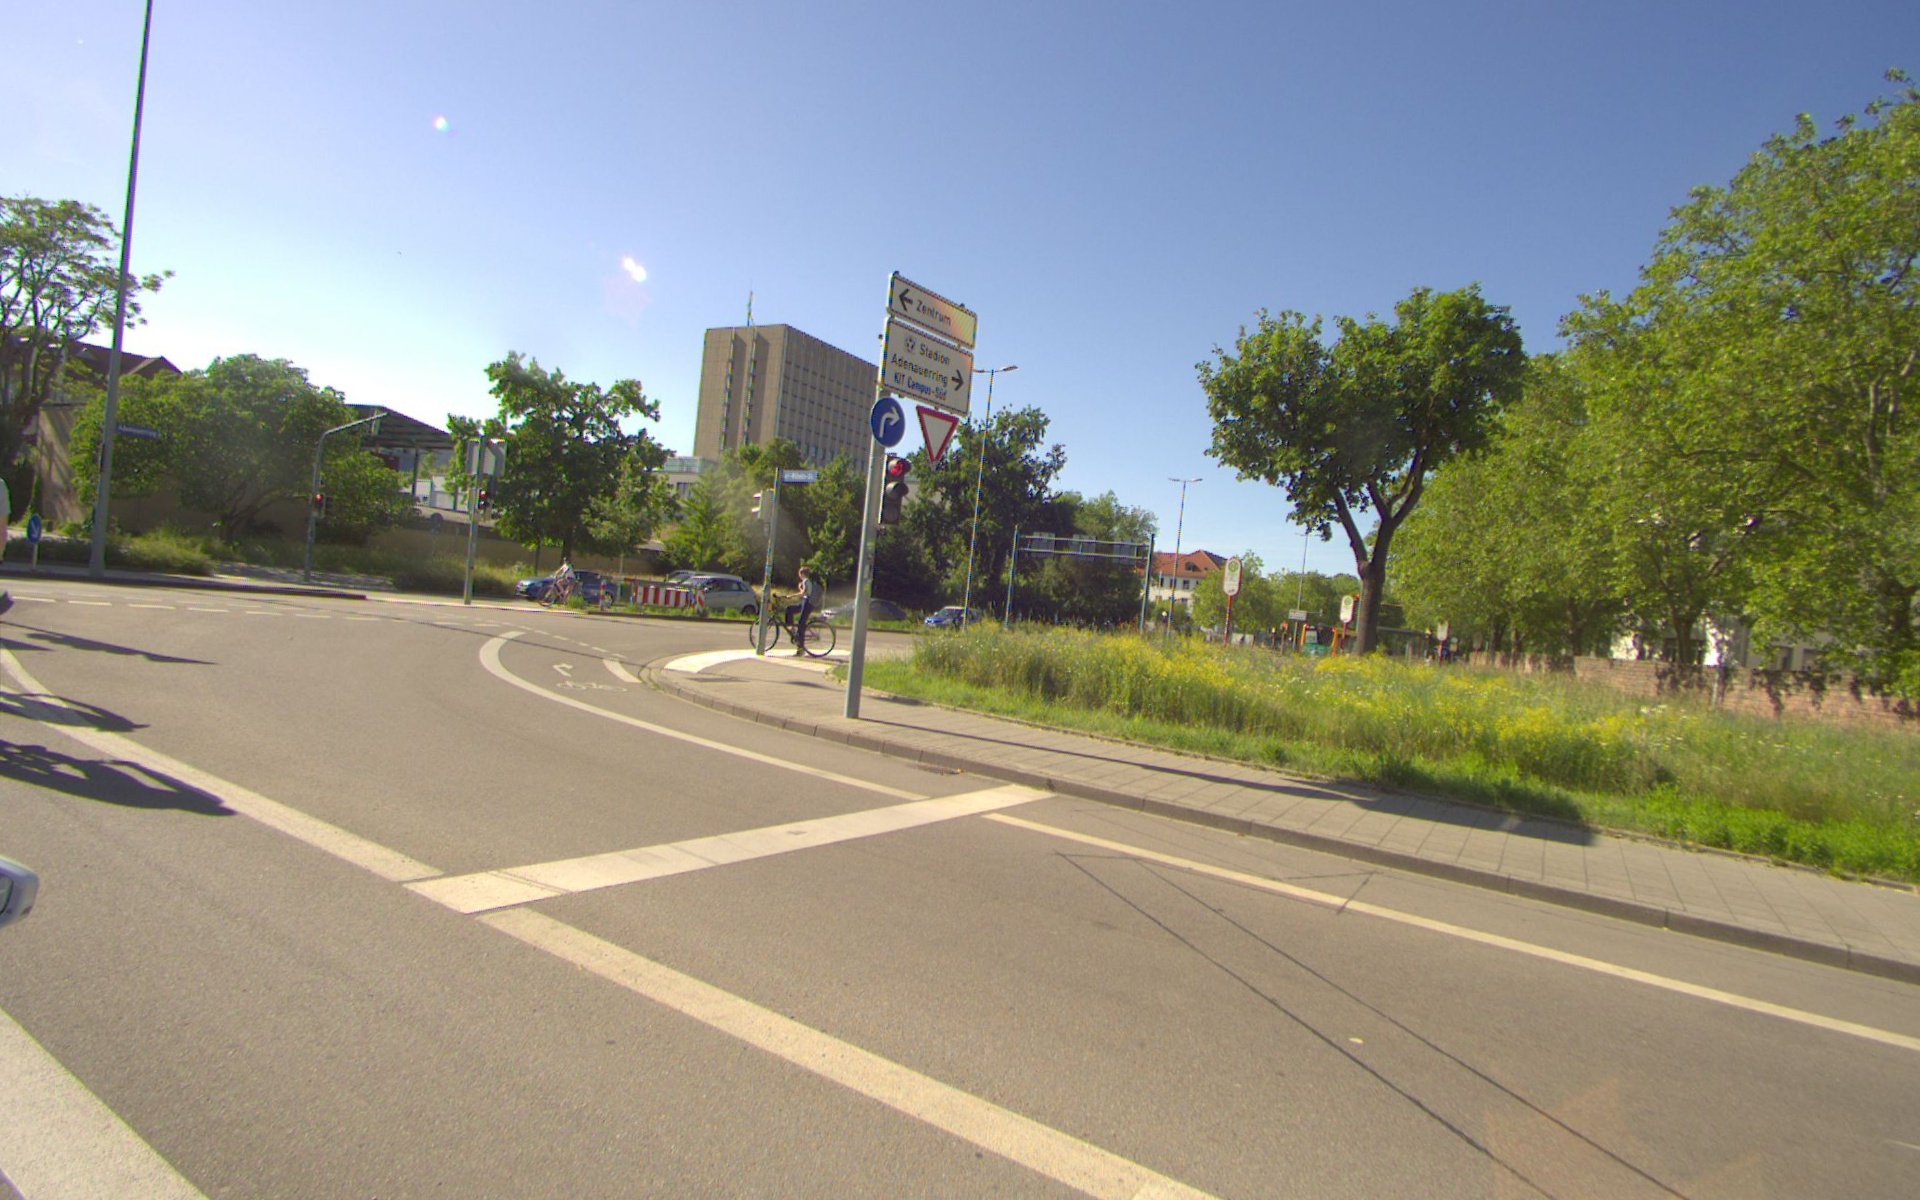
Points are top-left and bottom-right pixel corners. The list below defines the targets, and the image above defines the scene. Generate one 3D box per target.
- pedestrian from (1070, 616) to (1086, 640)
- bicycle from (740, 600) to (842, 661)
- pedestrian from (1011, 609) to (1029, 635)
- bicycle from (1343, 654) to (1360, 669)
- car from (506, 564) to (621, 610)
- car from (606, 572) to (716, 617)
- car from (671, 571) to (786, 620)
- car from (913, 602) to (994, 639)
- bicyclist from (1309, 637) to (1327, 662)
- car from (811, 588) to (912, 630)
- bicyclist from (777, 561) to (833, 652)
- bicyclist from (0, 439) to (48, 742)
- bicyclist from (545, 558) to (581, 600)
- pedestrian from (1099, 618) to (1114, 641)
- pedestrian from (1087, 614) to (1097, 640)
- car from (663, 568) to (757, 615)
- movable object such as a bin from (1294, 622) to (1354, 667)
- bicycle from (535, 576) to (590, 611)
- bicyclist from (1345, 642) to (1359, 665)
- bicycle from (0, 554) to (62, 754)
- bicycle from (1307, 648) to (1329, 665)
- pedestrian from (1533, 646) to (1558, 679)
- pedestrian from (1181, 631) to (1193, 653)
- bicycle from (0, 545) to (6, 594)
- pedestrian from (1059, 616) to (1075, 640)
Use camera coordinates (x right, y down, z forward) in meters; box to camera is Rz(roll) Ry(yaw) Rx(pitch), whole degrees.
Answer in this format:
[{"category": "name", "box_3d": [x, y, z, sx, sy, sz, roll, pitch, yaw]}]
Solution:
[{"category": "pedestrian", "box_3d": [10.450, 2.477, 89.116, 0.752, 2.039, 1.267, 7, 1, 36]}, {"category": "bicycle", "box_3d": [-3.290, 0.592, 19.679, 1.856, 0.970, 0.635, 7, 1, -10]}, {"category": "pedestrian", "box_3d": [5.027, 1.877, 84.213, 0.752, 2.039, 1.267, 7, 1, 36]}, {"category": "bicycle", "box_3d": [28.043, 4.418, 72.063, 0.514, 1.000, 1.965, 7, 1, 39]}, {"category": "car", "box_3d": [-16.211, -0.526, 41.318, 1.767, 1.415, 3.986, 7, 0, 37]}, {"category": "car", "box_3d": [-12.300, -0.201, 41.571, 1.767, 1.415, 3.986, 7, 0, 37]}, {"category": "car", "box_3d": [-8.740, -0.131, 38.290, 1.767, 1.415, 3.986, 7, 0, 37]}, {"category": "car", "box_3d": [-0.296, 1.049, 50.458, 1.916, 1.415, 3.986, 6, 0, 37]}, {"category": "bicyclist", "box_3d": [23.139, 3.198, 65.016, 0.632, 1.533, 1.049, 7, 2, 39]}, {"category": "car", "box_3d": [-4.310, 0.434, 44.631, 1.767, 1.415, 4.557, 7, 0, 37]}, {"category": "bicyclist", "box_3d": [-3.037, 0.125, 19.706, 0.898, 1.667, 0.630, 6, 1, -9]}, {"category": "bicyclist", "box_3d": [-6.336, -0.115, 6.160, 1.123, 1.813, 0.684, 7, 0, 32]}, {"category": "bicyclist", "box_3d": [-13.935, -0.723, 35.283, 0.602, 1.360, 0.874, 7, 1, 37]}, {"category": "pedestrian", "box_3d": [13.826, 2.801, 95.070, 0.752, 2.039, 1.267, 7, 1, 36]}, {"category": "pedestrian", "box_3d": [12.546, 2.547, 95.605, 0.401, 2.451, 0.467, 6, -1, 34]}, {"category": "car", "box_3d": [-11.844, -0.368, 47.796, 1.767, 1.771, 3.986, 7, 0, 37]}, {"category": "movable object such as a bin", "box_3d": [27.729, 3.461, 76.396, 2.954, 2.898, 9.178, 6, 0, 27]}, {"category": "bicycle", "box_3d": [-13.951, -0.229, 35.341, 0.602, 1.046, 1.681, 7, 0, 37]}, {"category": "bicyclist", "box_3d": [28.047, 3.818, 71.987, 0.509, 1.548, 1.067, 7, 2, 39]}, {"category": "bicycle", "box_3d": [-6.336, 0.233, 6.136, 1.890, 1.102, 0.690, 6, -1, 32]}, {"category": "bicycle", "box_3d": [23.192, 3.661, 65.146, 0.640, 0.986, 1.895, 7, 1, 39]}, {"category": "pedestrian", "box_3d": [27.496, 2.927, 47.224, 0.712, 1.460, 0.523, 7, -1, 2]}, {"category": "pedestrian", "box_3d": [25.762, 4.754, 114.121, 0.935, 2.318, 1.092, 7, -1, 24]}, {"category": "bicycle", "box_3d": [-8.210, 0.023, 7.763, 1.890, 1.102, 0.690, 6, -1, 32]}, {"category": "pedestrian", "box_3d": [9.639, 2.524, 90.641, 0.752, 2.039, 1.267, 7, 1, 36]}]
